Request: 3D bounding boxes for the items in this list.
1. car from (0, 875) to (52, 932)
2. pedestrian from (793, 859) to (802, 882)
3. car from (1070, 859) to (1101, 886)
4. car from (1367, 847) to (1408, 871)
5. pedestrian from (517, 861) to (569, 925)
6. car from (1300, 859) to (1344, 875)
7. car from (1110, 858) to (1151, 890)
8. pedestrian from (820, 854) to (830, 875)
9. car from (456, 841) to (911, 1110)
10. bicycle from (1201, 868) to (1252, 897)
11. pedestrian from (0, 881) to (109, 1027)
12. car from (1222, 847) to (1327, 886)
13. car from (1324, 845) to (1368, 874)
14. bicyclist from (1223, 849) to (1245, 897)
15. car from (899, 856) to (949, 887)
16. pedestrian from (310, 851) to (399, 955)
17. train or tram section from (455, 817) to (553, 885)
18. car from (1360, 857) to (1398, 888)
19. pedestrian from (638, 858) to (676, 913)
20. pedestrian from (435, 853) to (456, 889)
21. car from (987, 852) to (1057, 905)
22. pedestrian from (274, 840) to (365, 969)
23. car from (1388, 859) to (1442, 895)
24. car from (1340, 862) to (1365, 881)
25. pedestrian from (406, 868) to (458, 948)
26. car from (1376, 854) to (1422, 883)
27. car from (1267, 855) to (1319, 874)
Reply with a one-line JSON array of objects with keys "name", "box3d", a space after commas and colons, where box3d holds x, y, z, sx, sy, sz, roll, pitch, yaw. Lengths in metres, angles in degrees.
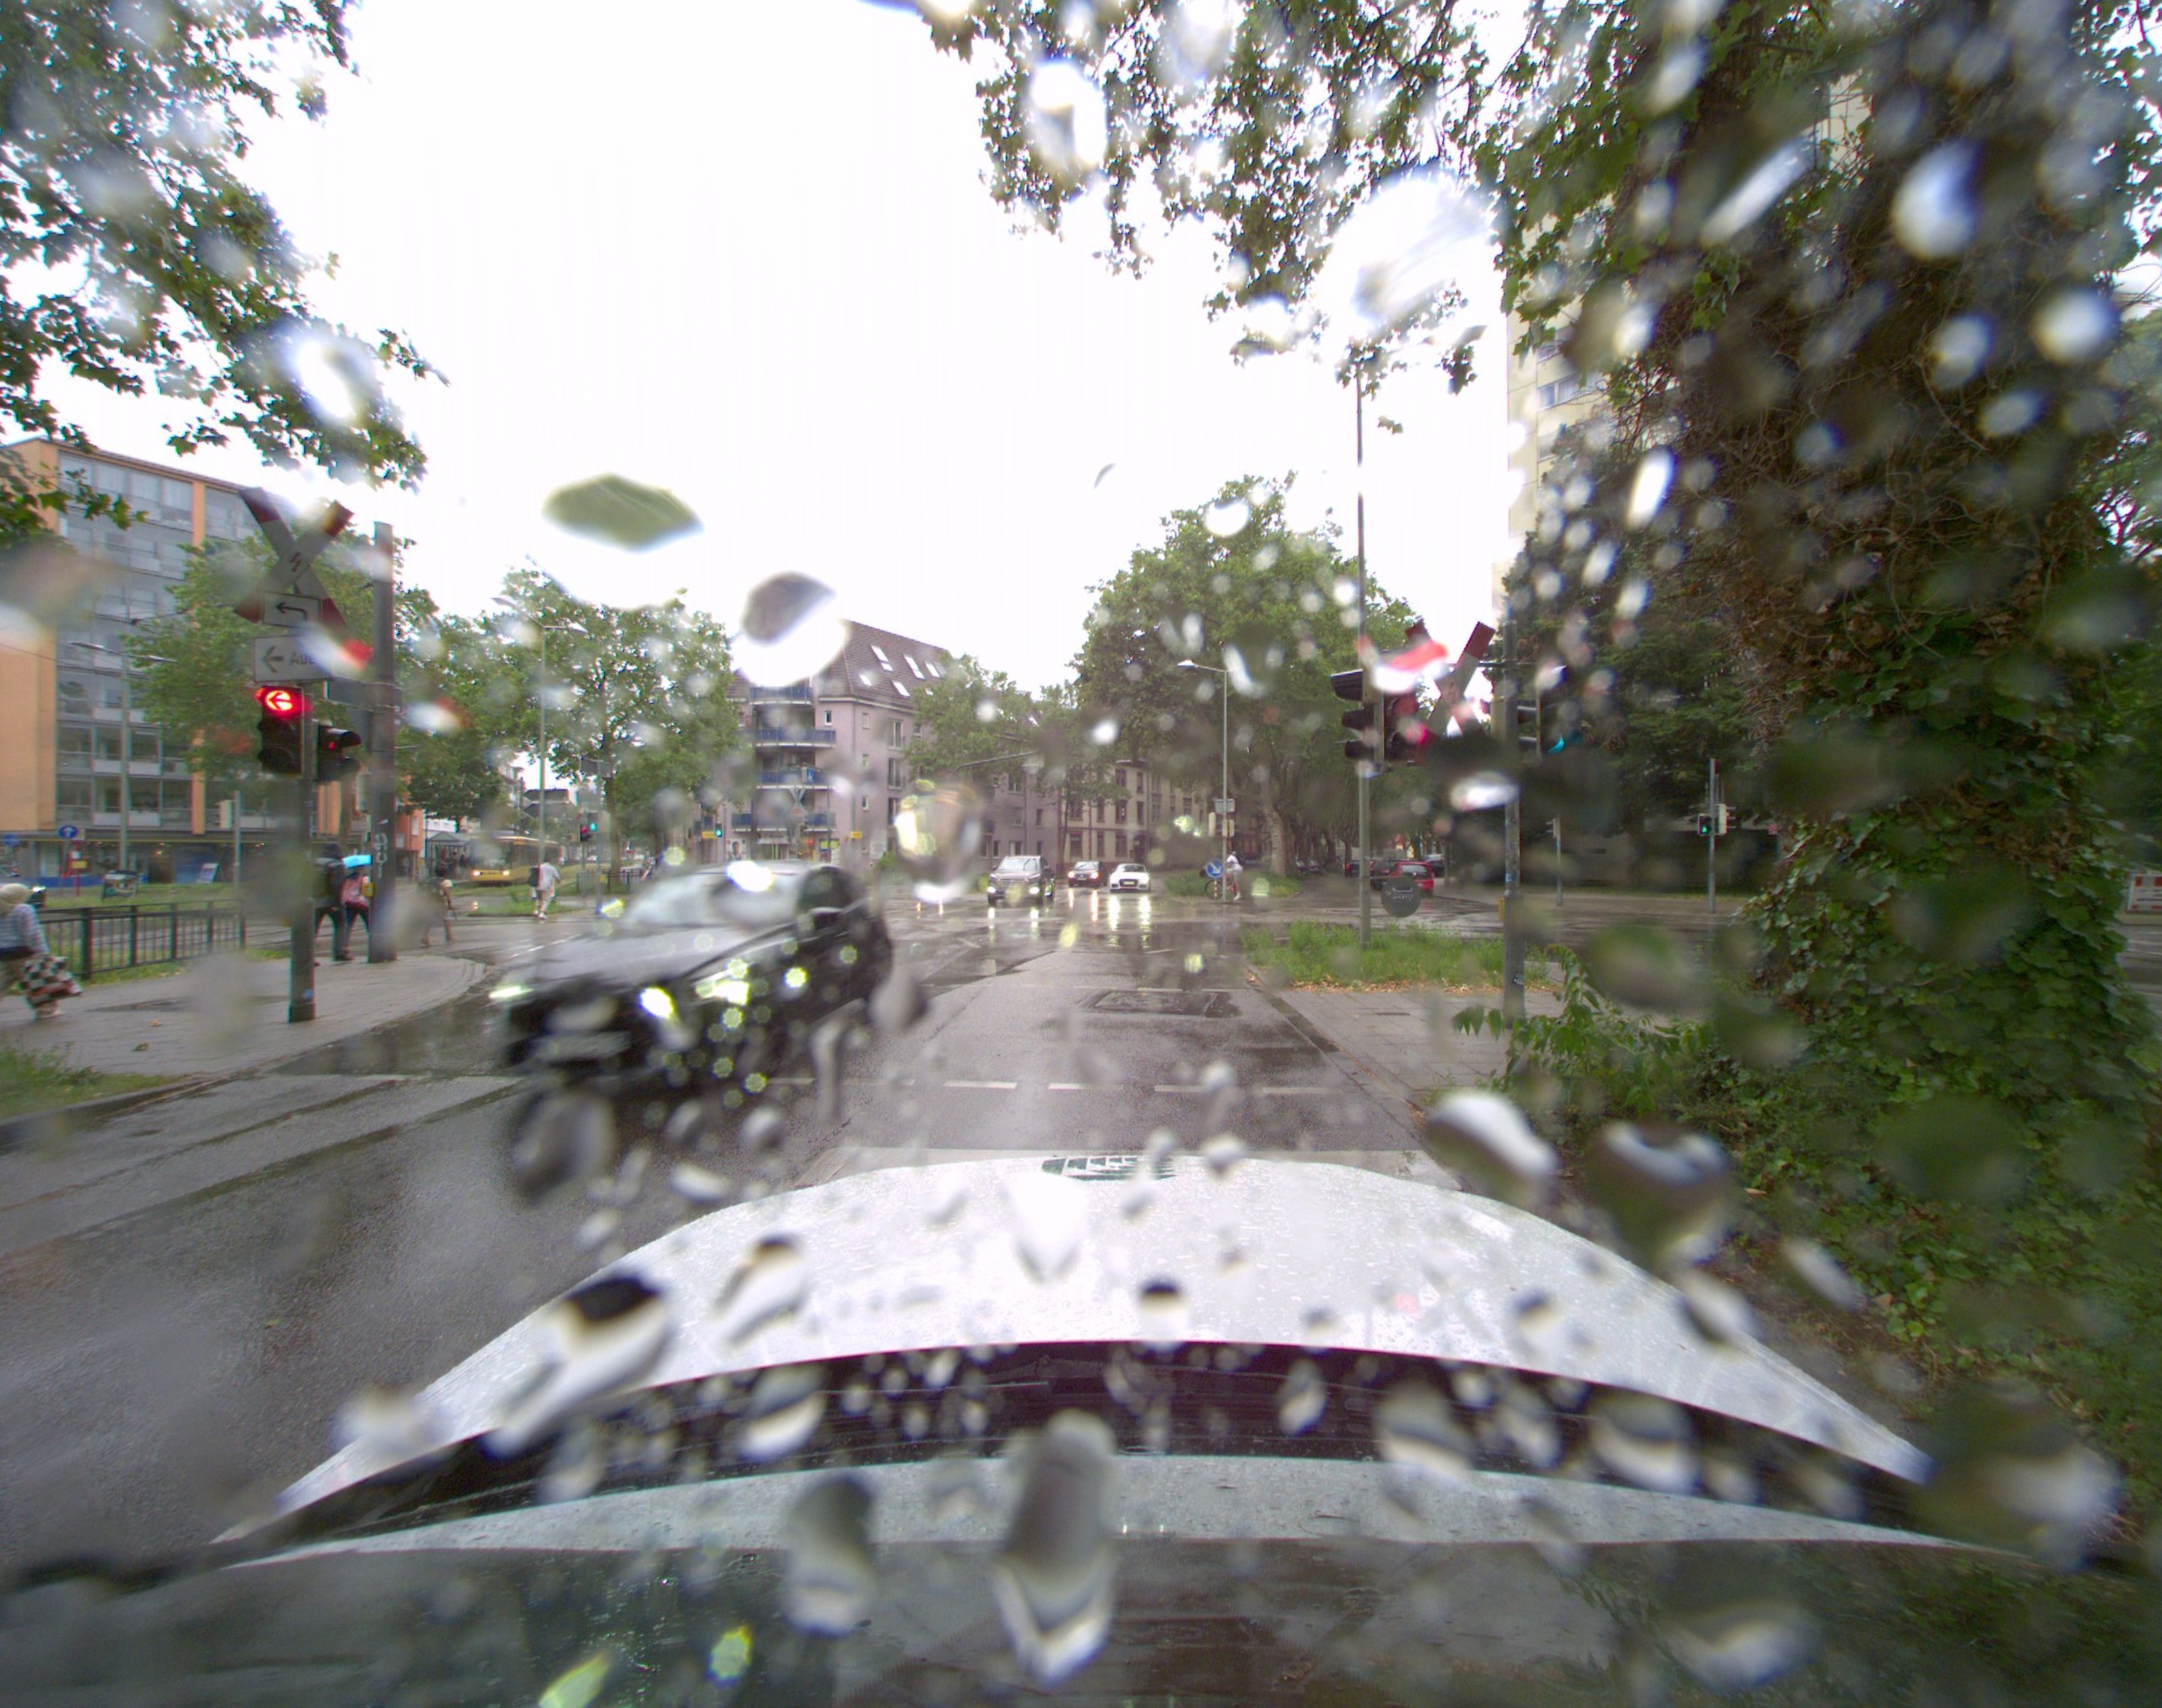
[{"name": "car", "box3d": [-32.252, 1.407, 23.454, 3.994, 1.530, 1.615, 0, 1, 12]}, {"name": "pedestrian", "box3d": [-18.357, 1.072, 52.791, 0.444, 1.457, 0.560, 0, -1, -8]}, {"name": "car", "box3d": [0.294, 1.011, 46.058, 1.708, 1.459, 3.748, 0, -1, 1]}, {"name": "car", "box3d": [38.980, 0.650, 103.566, 2.006, 2.948, 4.726, 0, -1, -29]}, {"name": "pedestrian", "box3d": [-13.913, 0.988, 21.078, 0.671, 1.600, 0.968, 0, -1, 2]}, {"name": "car", "box3d": [23.129, 1.257, 78.257, 3.958, 1.547, 2.008, -1, -1, 14]}, {"name": "car", "box3d": [2.410, 0.931, 39.214, 1.876, 1.436, 4.004, 0, 0, 4]}, {"name": "pedestrian", "box3d": [-16.600, 0.692, 52.817, 0.443, 1.329, 0.561, 0, -1, -3]}, {"name": "car", "box3d": [-2.804, 0.720, 6.959, 1.745, 1.591, 4.235, 0, 0, 1]}, {"name": "bicycle", "box3d": [5.432, 1.064, 30.397, 1.862, 1.081, 0.658, 0, -1, 9]}, {"name": "pedestrian", "box3d": [-10.278, 0.951, 7.983, 0.657, 1.349, 0.706, 0, 0, -12]}, {"name": "car", "box3d": [7.749, 0.514, 32.659, 3.958, 1.486, 2.008, -1, -1, 14]}, {"name": "car", "box3d": [28.315, 0.593, 87.214, 2.040, 2.948, 4.742, 0, -1, -18]}, {"name": "bicyclist", "box3d": [5.686, 0.710, 30.362, 0.790, 1.786, 0.699, -1, -1, 9]}, {"name": "car", "box3d": [-8.012, 0.847, 41.836, 1.745, 1.512, 3.839, 0, 0, 1]}, {"name": "pedestrian", "box3d": [-12.844, 0.831, 14.442, 0.962, 1.766, 0.944, 0, -1, -28]}, {"name": "train or tram section", "box3d": [-37.204, -0.089, 53.215, 2.897, 3.768, 17.089, 0, -1, -28]}, {"name": "car", "box3d": [17.320, 1.063, 47.422, 1.769, 1.727, 4.017, -1, -1, 16]}, {"name": "pedestrian", "box3d": [-11.943, 0.873, 22.957, 0.749, 1.533, 0.789, 0, -1, -9]}, {"name": "pedestrian", "box3d": [-38.278, 1.027, 49.064, 0.889, 2.151, 0.902, 0, -1, -30]}, {"name": "car", "box3d": [-1.950, 0.779, 28.217, 1.795, 1.682, 4.608, 0, 0, 4]}, {"name": "pedestrian", "box3d": [-11.348, 0.724, 12.156, 0.791, 1.855, 0.676, 0, 0, -22]}, {"name": "car", "box3d": [14.821, 0.979, 36.331, 1.778, 1.498, 4.017, 0, 0, 16]}, {"name": "car", "box3d": [22.396, 1.398, 67.020, 1.666, 1.474, 3.683, -1, -1, 23]}, {"name": "pedestrian", "box3d": [-11.748, 0.954, 14.759, 0.653, 1.396, 0.774, 0, 0, -33]}, {"name": "car", "box3d": [15.890, 0.695, 40.867, 1.770, 1.348, 3.945, 0, 1, 16]}, {"name": "car", "box3d": [16.930, 0.865, 65.208, 3.958, 1.486, 2.008, -1, -1, 14]}]
